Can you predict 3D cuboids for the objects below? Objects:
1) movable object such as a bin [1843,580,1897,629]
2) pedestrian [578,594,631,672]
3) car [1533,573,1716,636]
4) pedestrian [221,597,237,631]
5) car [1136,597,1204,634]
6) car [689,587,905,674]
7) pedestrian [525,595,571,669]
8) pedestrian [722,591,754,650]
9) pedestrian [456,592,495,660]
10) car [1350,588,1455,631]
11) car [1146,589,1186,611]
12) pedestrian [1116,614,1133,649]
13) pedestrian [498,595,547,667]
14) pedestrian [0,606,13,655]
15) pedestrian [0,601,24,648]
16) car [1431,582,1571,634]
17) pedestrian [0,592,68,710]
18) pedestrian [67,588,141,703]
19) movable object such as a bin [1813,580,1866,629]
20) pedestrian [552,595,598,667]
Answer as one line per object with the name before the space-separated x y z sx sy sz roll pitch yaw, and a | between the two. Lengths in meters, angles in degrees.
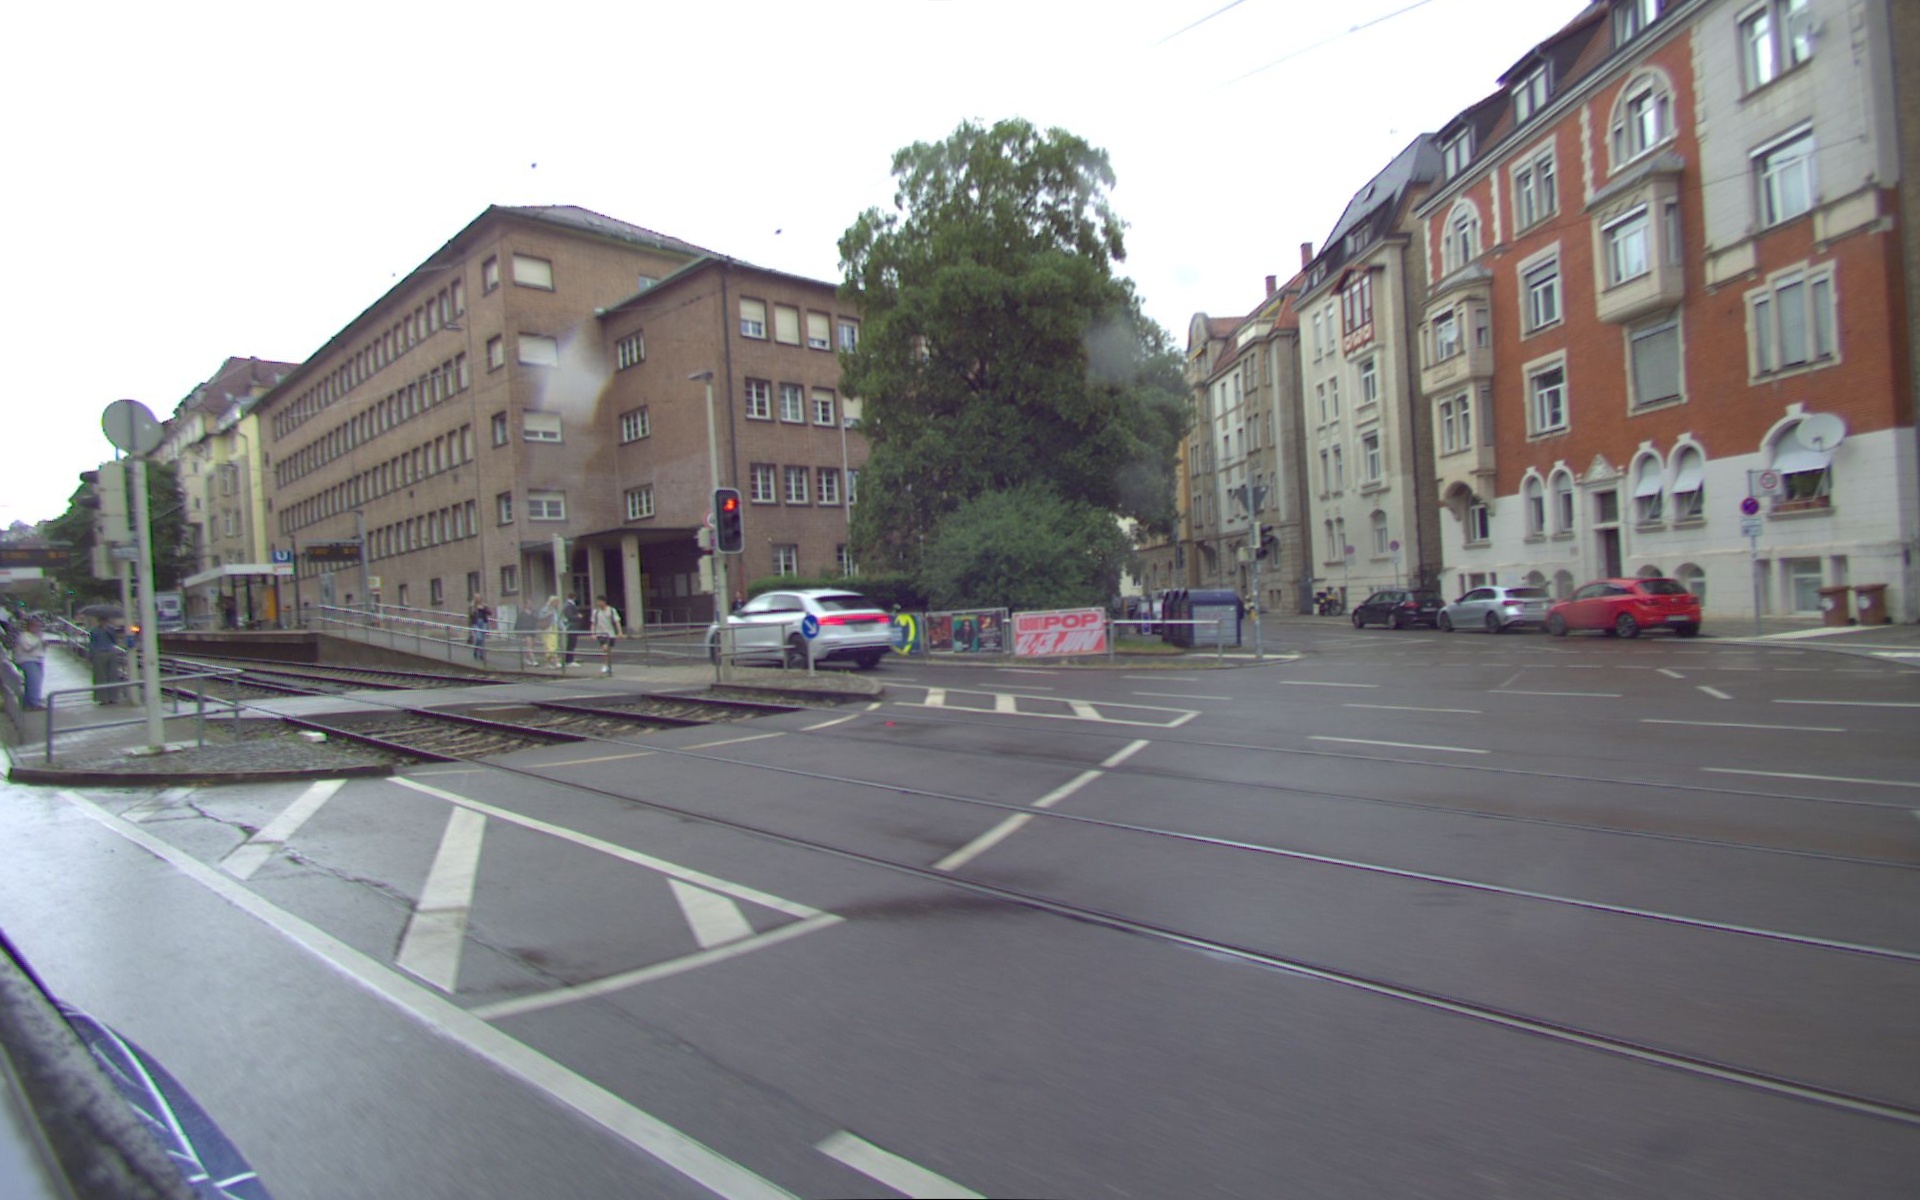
movable object such as a bin | 19.884 0.101 22.120 0.709 1.050 0.552 -1 0 -15
pedestrian | -7.513 0.685 21.372 0.684 1.595 0.957 -2 0 -42
car | 16.510 0.107 25.409 1.716 1.413 4.004 -2 0 -4
pedestrian | -37.127 0.711 51.400 0.491 1.722 0.580 -2 -1 44
car | 8.692 0.641 42.301 1.716 1.413 4.004 -2 0 -4
car | -3.627 0.539 21.652 1.970 1.640 5.258 0 1 -43
pedestrian | -9.563 0.729 23.472 0.641 1.659 0.735 0 3 45
pedestrian | -6.528 0.599 29.805 0.688 1.688 0.597 -2 -1 42
pedestrian | -12.702 0.671 26.517 0.688 1.711 0.657 3 4 42
car | 15.900 0.346 36.592 1.716 1.413 4.147 -2 0 -4
car | 14.397 0.015 70.912 1.716 1.413 4.004 -2 0 -4
pedestrian | 5.131 0.975 31.636 0.411 1.093 0.283 -1 -1 -22
pedestrian | -10.796 0.746 24.978 0.883 1.708 0.736 0 4 43
pedestrian | -35.827 1.146 37.388 1.112 1.788 1.101 -2 1 44
pedestrian | -37.191 0.962 39.685 0.711 1.788 0.636 -2 1 45
car | 16.165 0.252 30.504 1.716 1.413 4.172 -2 0 -4
pedestrian | -16.821 0.900 18.045 0.916 2.028 0.947 -3 1 -1
pedestrian | -15.868 0.829 18.757 0.948 2.028 0.887 -2 1 45
movable object such as a bin | 19.716 0.103 22.692 0.709 1.050 0.552 -1 0 -15
pedestrian | -9.253 0.736 24.325 0.649 1.662 0.756 -3 0 43
